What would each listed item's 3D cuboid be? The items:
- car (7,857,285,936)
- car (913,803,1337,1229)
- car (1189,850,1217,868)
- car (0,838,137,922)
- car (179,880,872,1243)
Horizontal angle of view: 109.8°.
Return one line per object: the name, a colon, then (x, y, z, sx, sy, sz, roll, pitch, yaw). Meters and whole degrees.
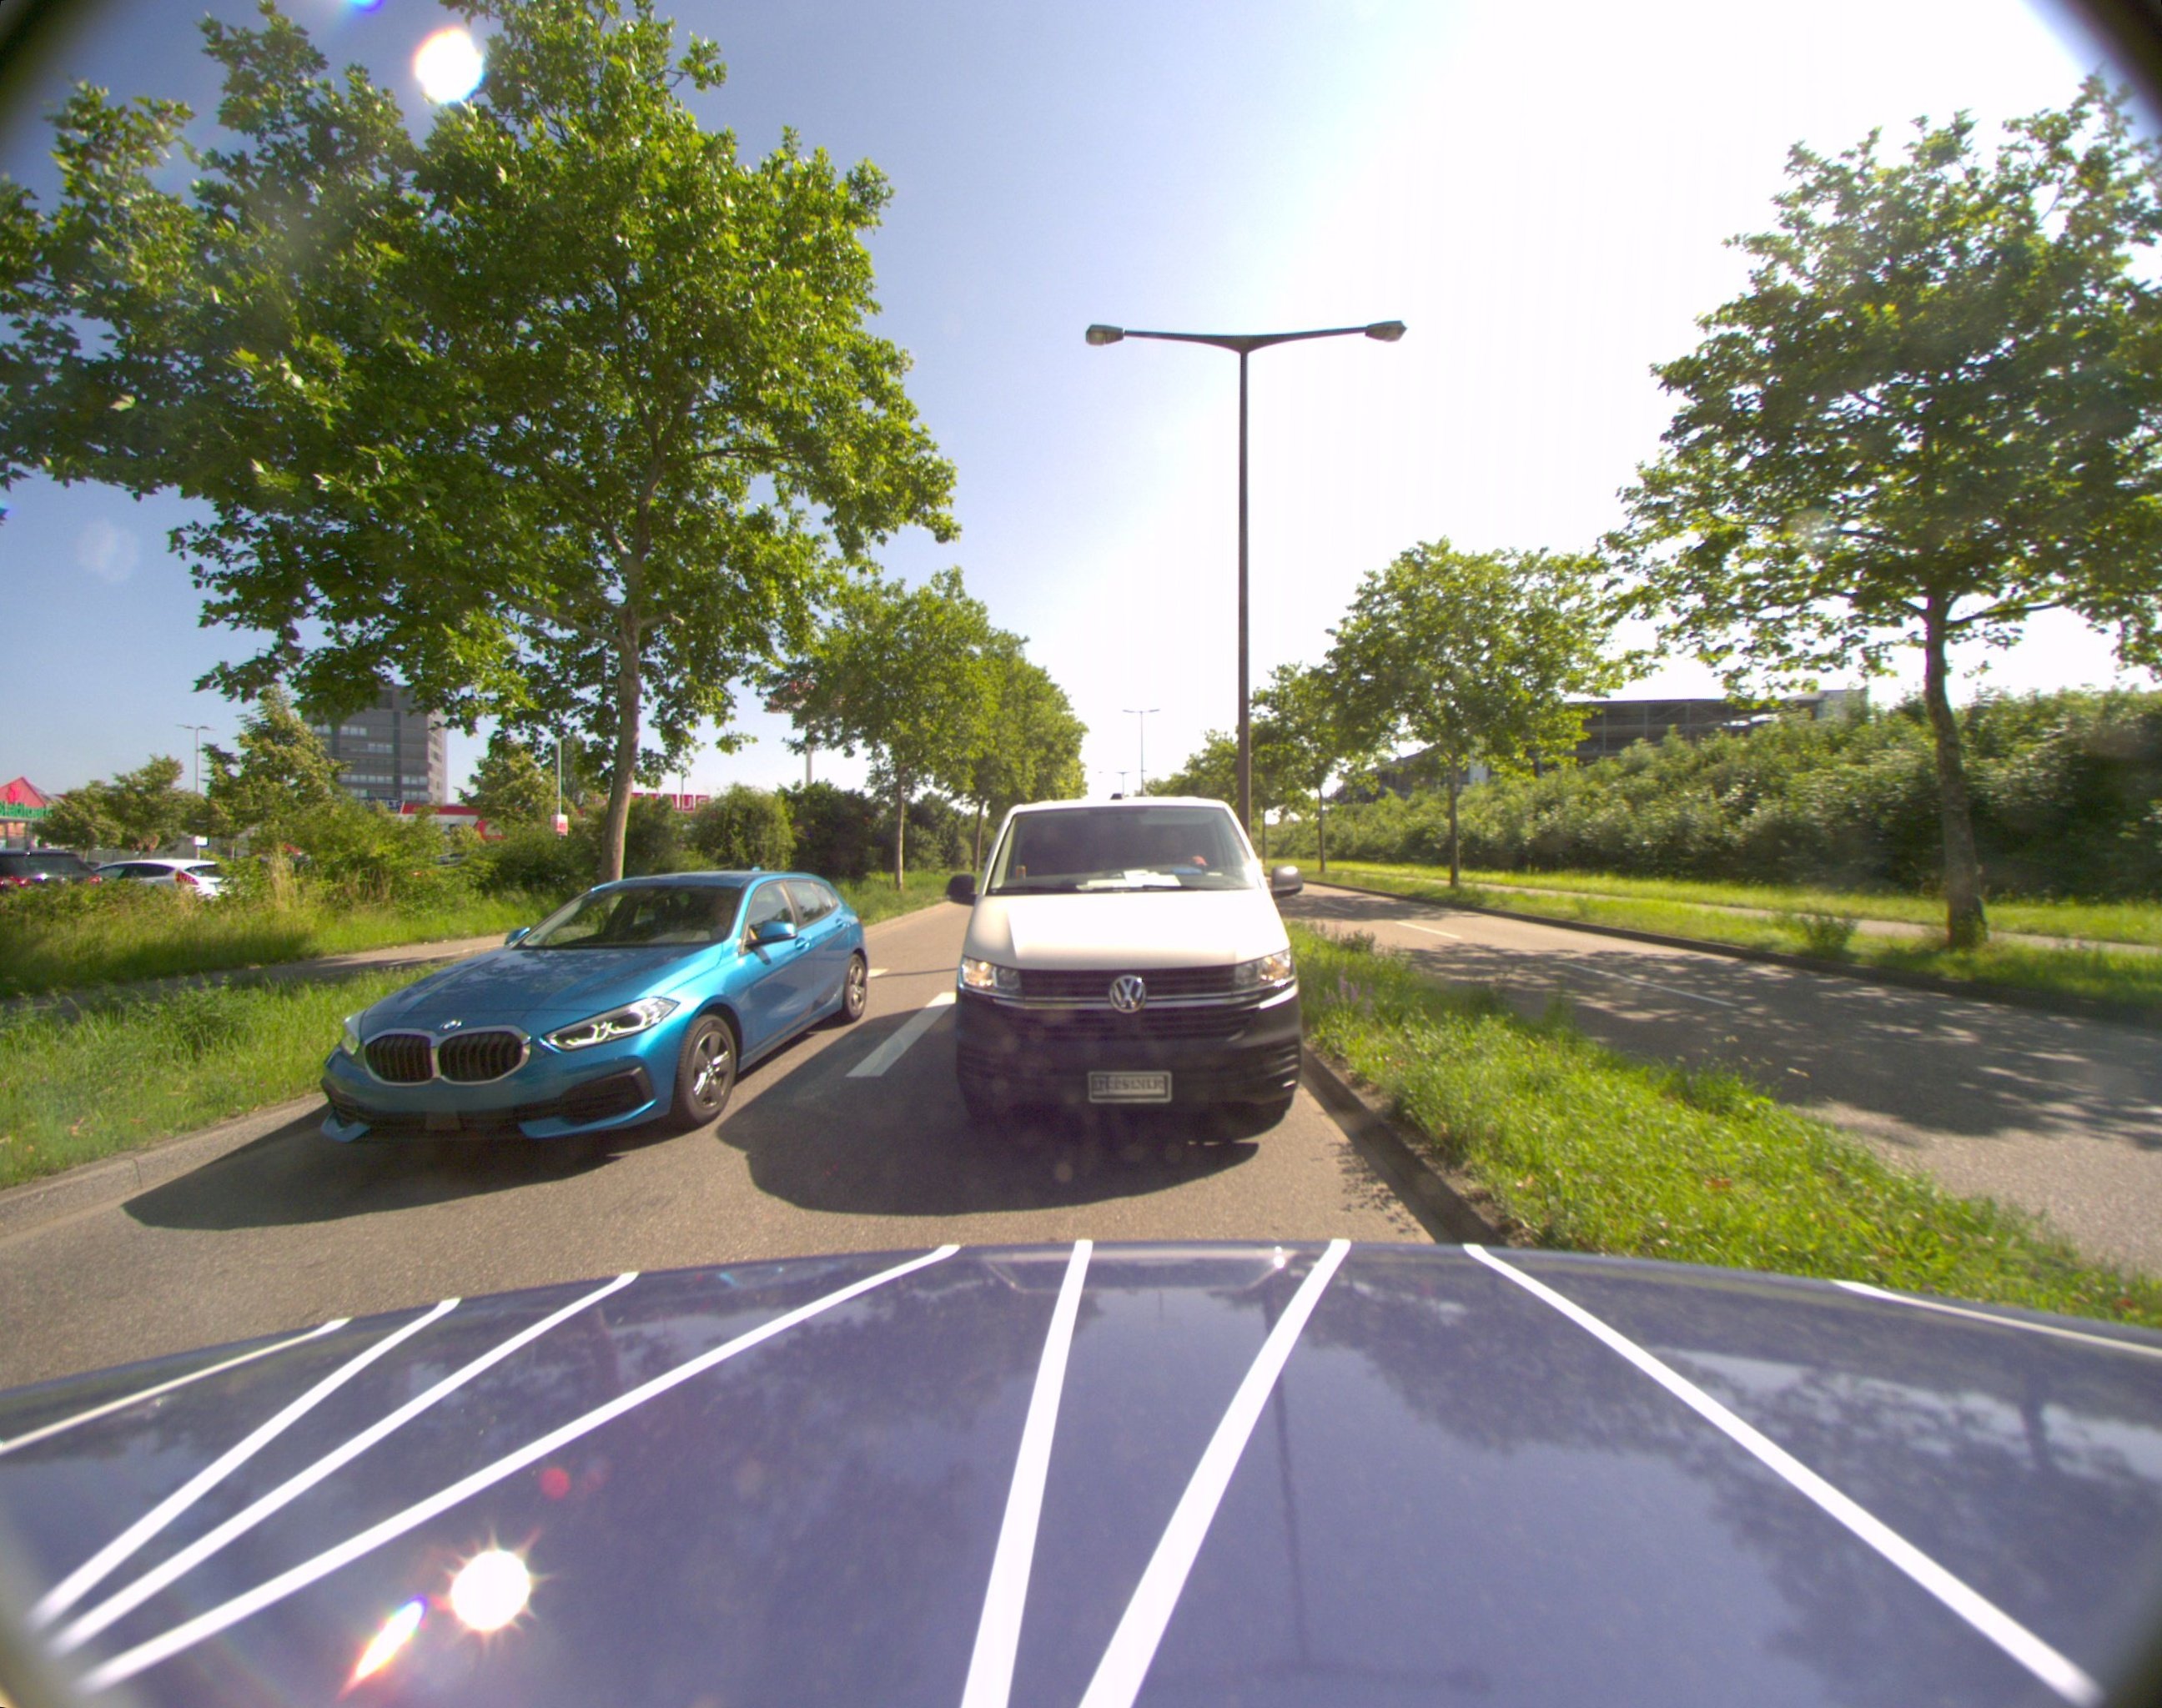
car: (-22.179, 0.958, 18.174, 4.083, 1.582, 1.880, -2, 1, -3)
car: (0.221, 0.699, 5.820, 1.872, 1.889, 4.881, -1, 1, 0)
car: (10.150, 0.411, 63.341, 1.704, 1.499, 4.000, 0, 0, 1)
car: (-22.192, 0.554, 15.178, 4.083, 1.582, 1.880, -2, 1, -3)
car: (-3.022, 0.994, 5.431, 1.872, 1.412, 4.130, -1, 1, 0)
